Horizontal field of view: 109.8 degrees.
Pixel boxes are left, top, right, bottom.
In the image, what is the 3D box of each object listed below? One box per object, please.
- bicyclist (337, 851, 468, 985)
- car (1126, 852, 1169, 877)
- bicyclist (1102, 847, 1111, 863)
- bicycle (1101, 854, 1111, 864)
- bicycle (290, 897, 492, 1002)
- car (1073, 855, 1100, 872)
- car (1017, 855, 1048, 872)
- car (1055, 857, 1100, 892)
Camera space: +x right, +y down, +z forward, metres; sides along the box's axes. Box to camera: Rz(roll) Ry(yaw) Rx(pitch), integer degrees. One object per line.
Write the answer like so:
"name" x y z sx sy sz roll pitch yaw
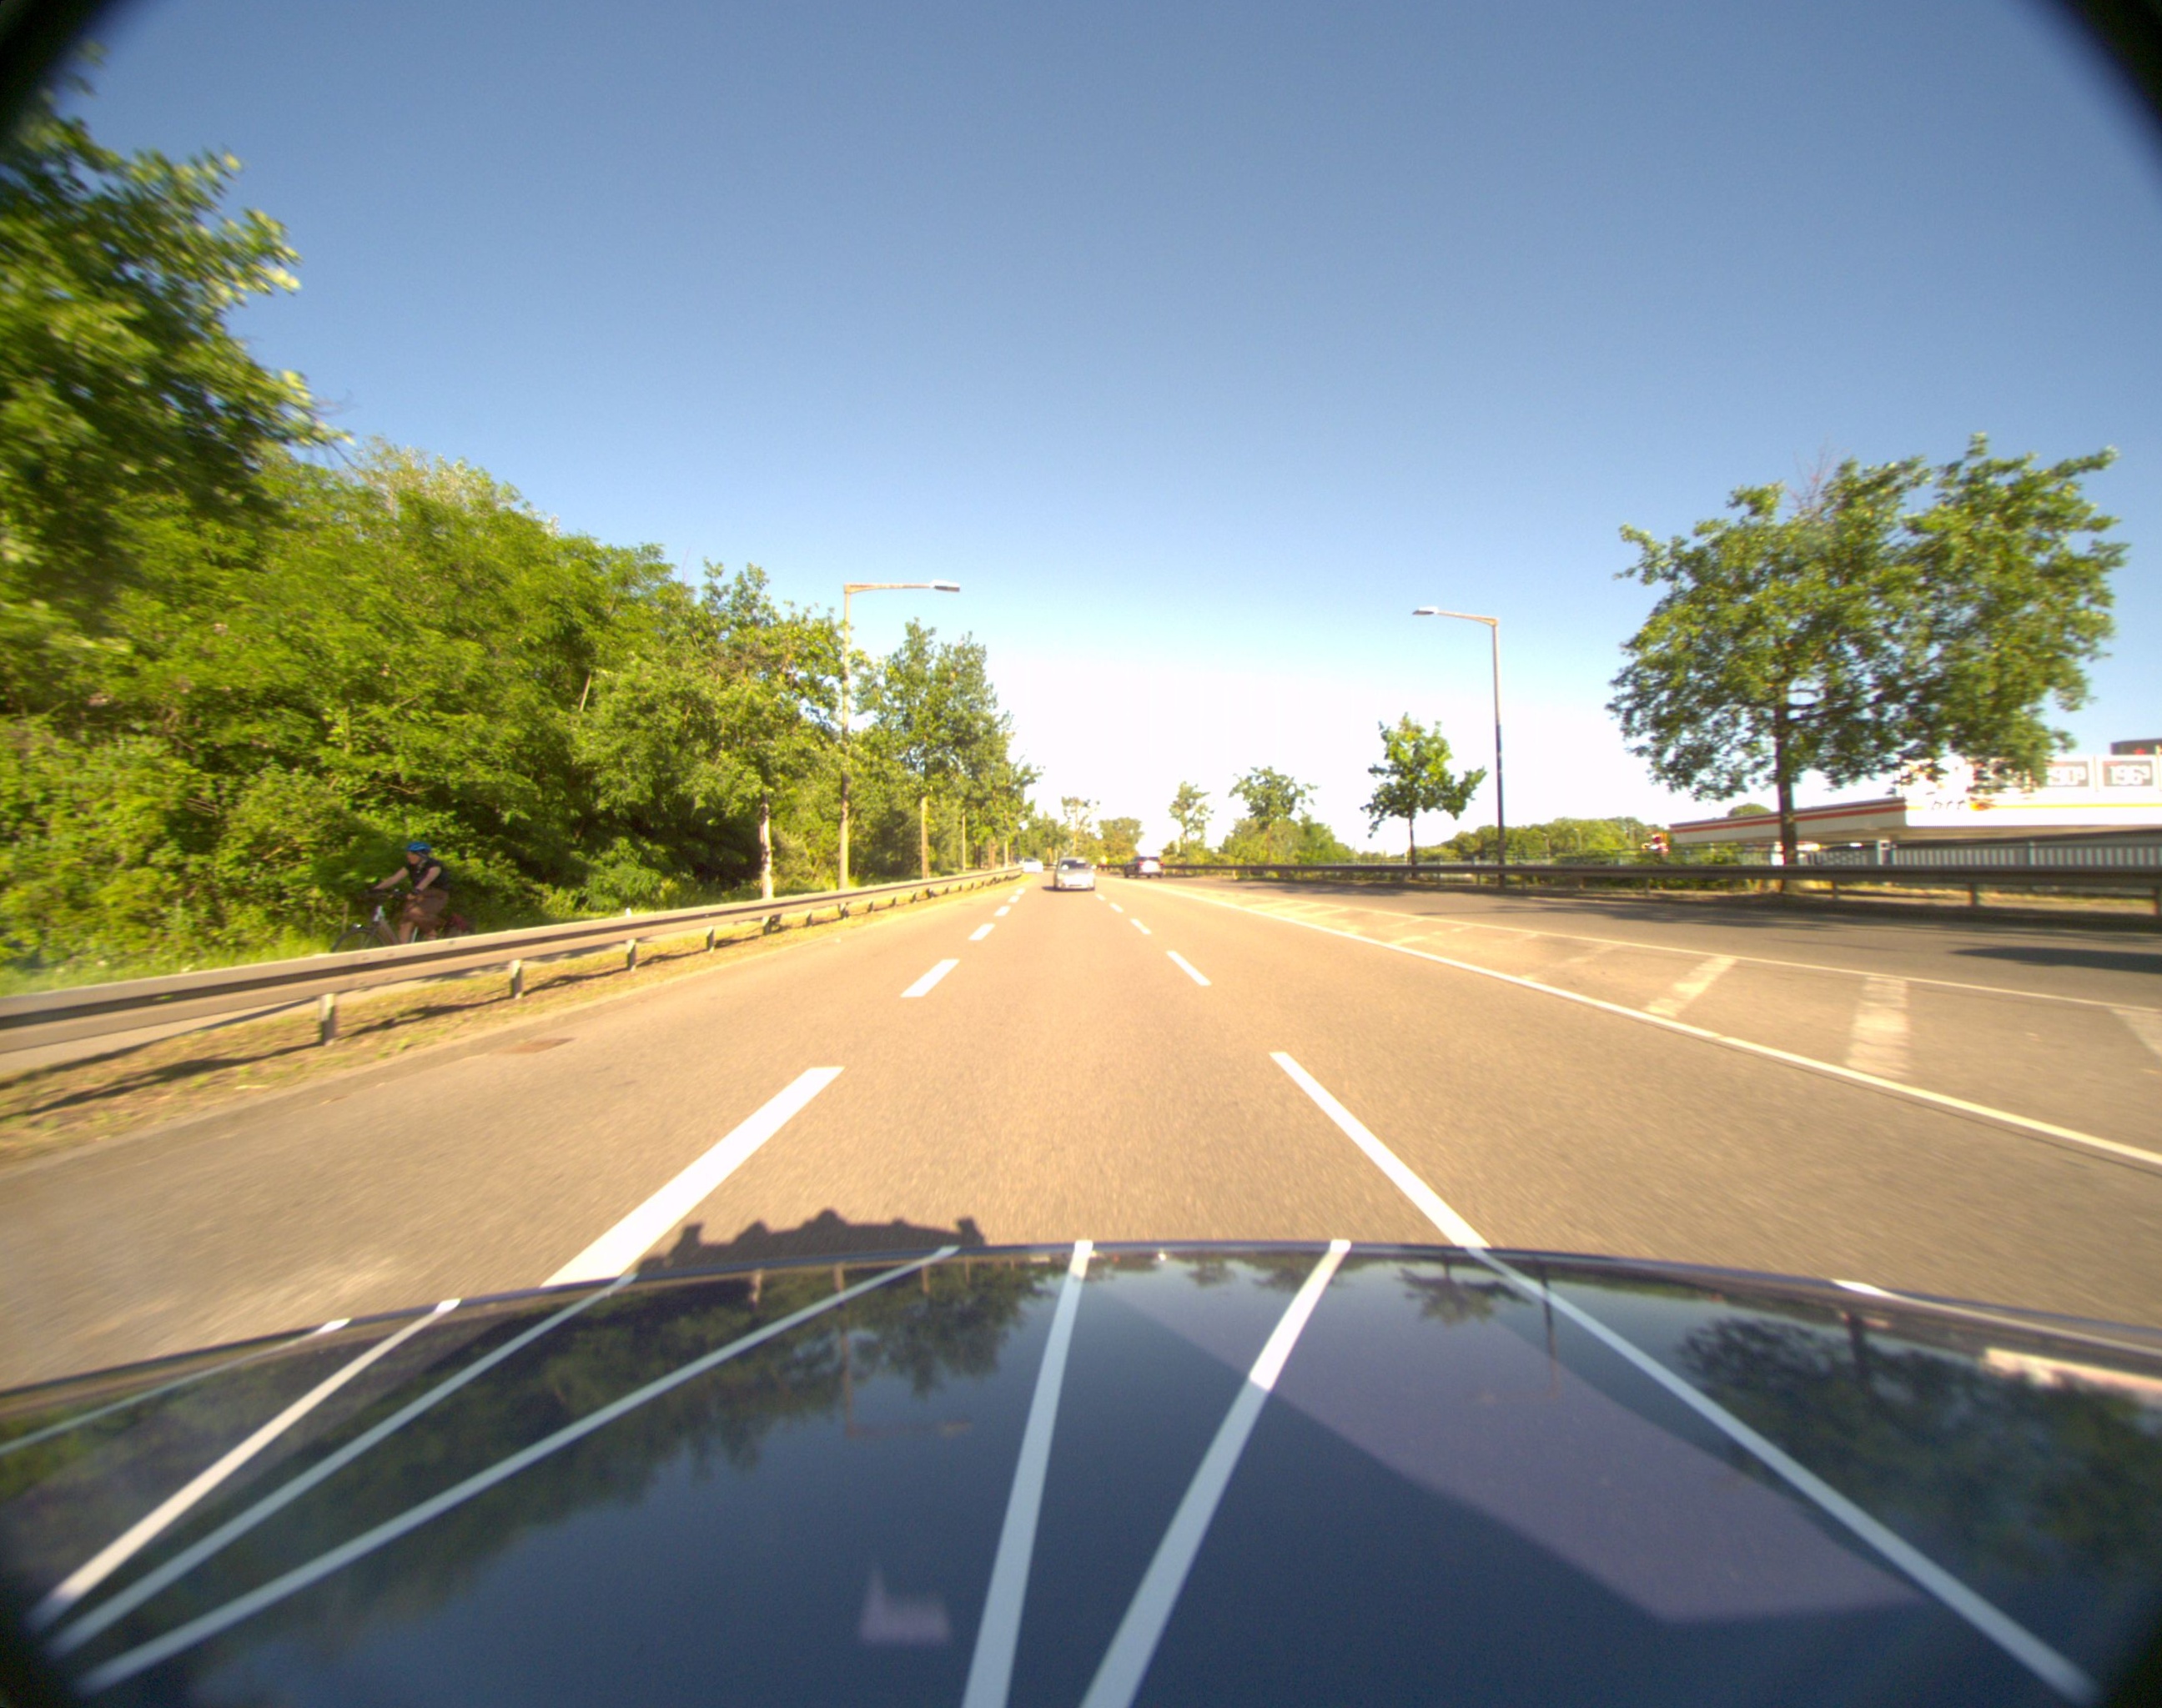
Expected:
"bicyclist" -8.436 0.760 9.500 0.709 1.569 1.005 1 0 2
"car" 4.284 0.653 49.667 1.768 1.480 4.273 -2 0 -10
"bicyclist" 2.720 0.123 81.074 0.654 1.614 0.873 1 0 -12
"bicycle" 2.664 0.517 81.226 0.662 1.089 2.106 1 0 -12
"bicycle" -8.442 1.119 9.431 0.702 1.068 1.921 1 0 2
"car" 0.474 0.852 67.776 1.670 1.437 3.845 0 0 -11
"car" -4.621 0.886 72.360 2.153 1.558 4.193 2 -1 -14
"car" -0.221 0.876 33.724 1.683 1.433 3.857 1 0 -5
